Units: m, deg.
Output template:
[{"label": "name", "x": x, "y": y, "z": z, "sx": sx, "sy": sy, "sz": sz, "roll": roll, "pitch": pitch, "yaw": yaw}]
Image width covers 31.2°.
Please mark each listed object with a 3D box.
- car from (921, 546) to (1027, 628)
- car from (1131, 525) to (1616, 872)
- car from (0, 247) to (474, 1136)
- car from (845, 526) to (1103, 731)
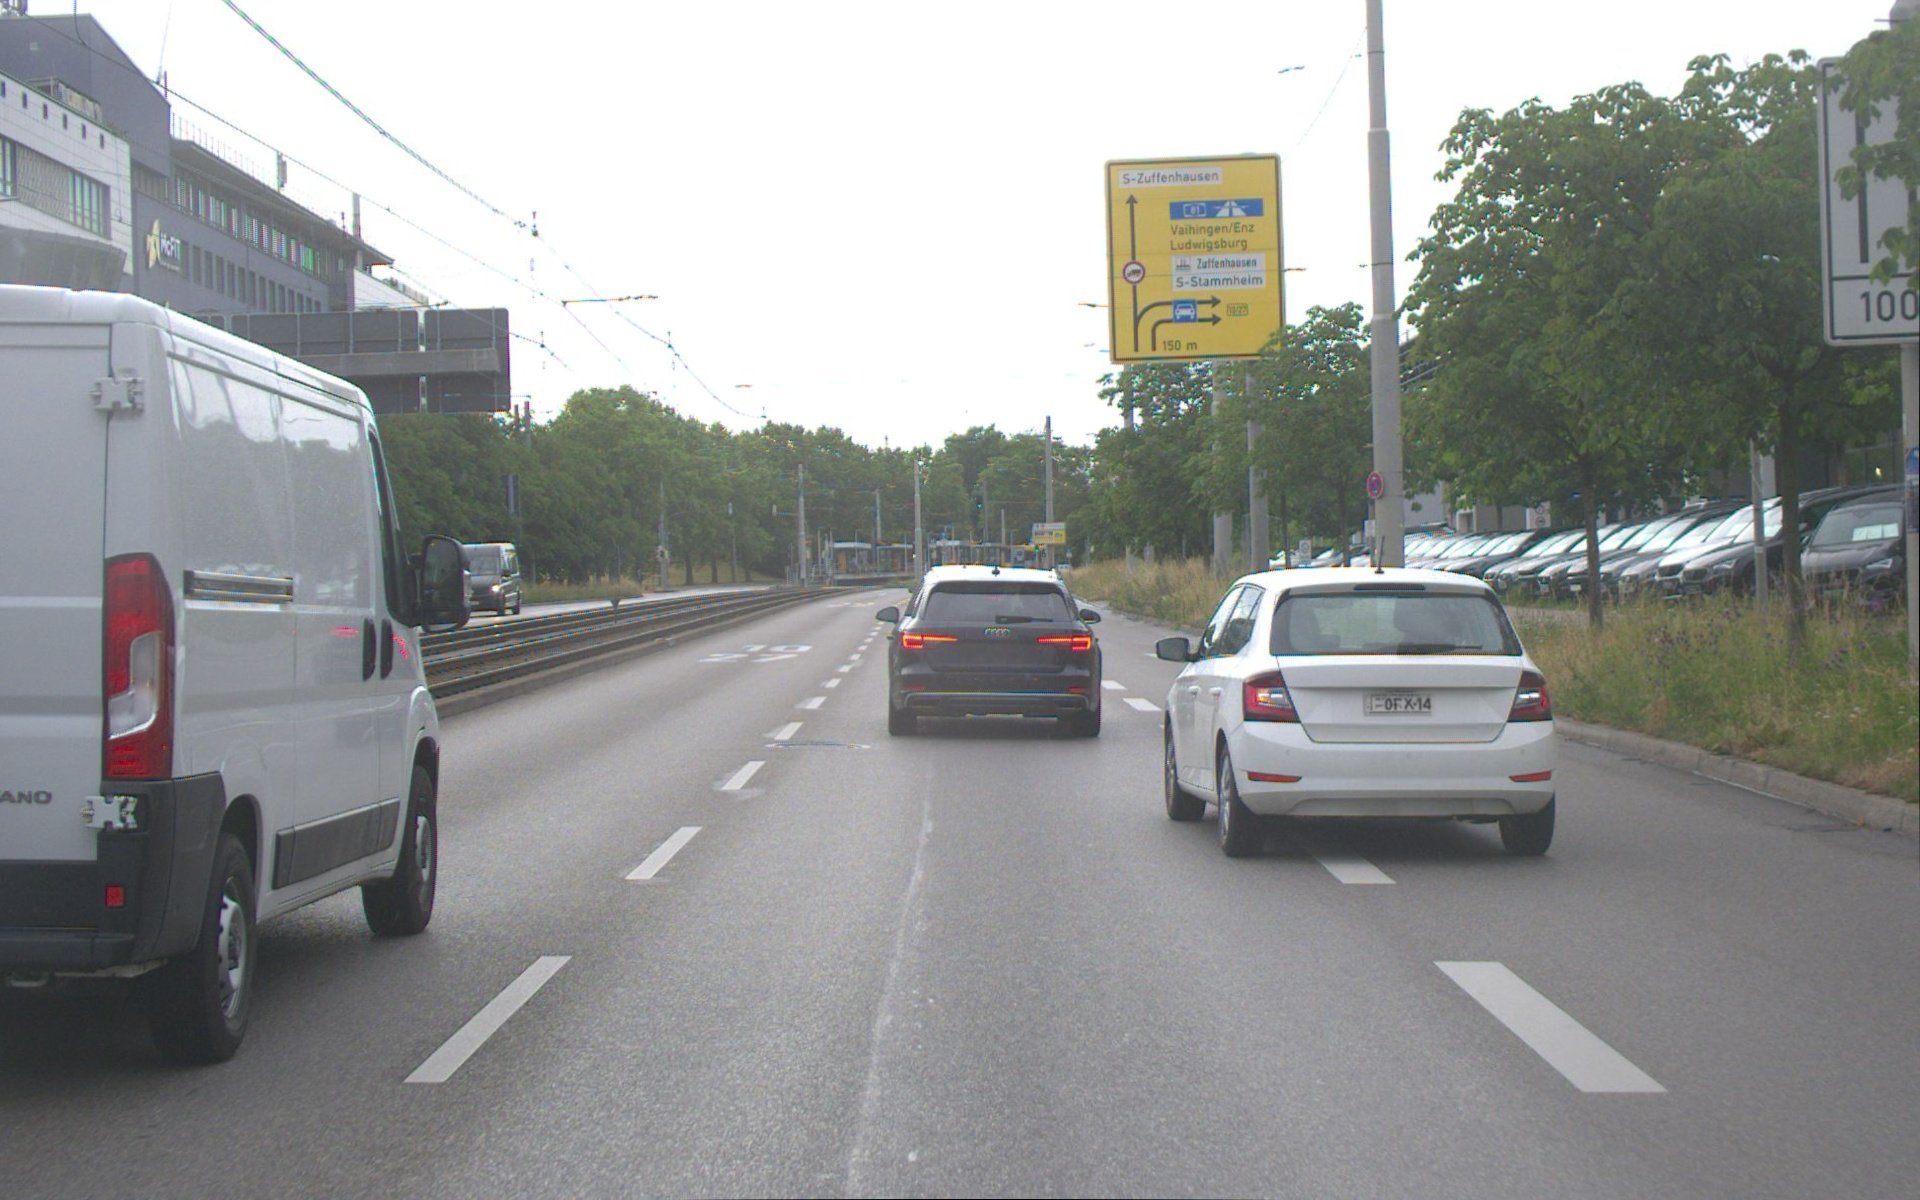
[{"label": "car", "x": 0.267, "y": -0.228, "z": 64.106, "sx": 1.894, "sy": 1.460, "sz": 3.909, "roll": -1, "pitch": 0, "yaw": 0}, {"label": "car", "x": 2.098, "y": 0.481, "z": 18.549, "sx": 1.828, "sy": 1.650, "sz": 4.000, "roll": 1, "pitch": 0, "yaw": -4}, {"label": "car", "x": -3.267, "y": 0.155, "z": 11.376, "sx": 2.445, "sy": 2.286, "sz": 4.905, "roll": 2, "pitch": 1, "yaw": 1}, {"label": "car", "x": 0.049, "y": 0.244, "z": 29.890, "sx": 1.993, "sy": 1.632, "sz": 4.000, "roll": -1, "pitch": 0, "yaw": -3}]
